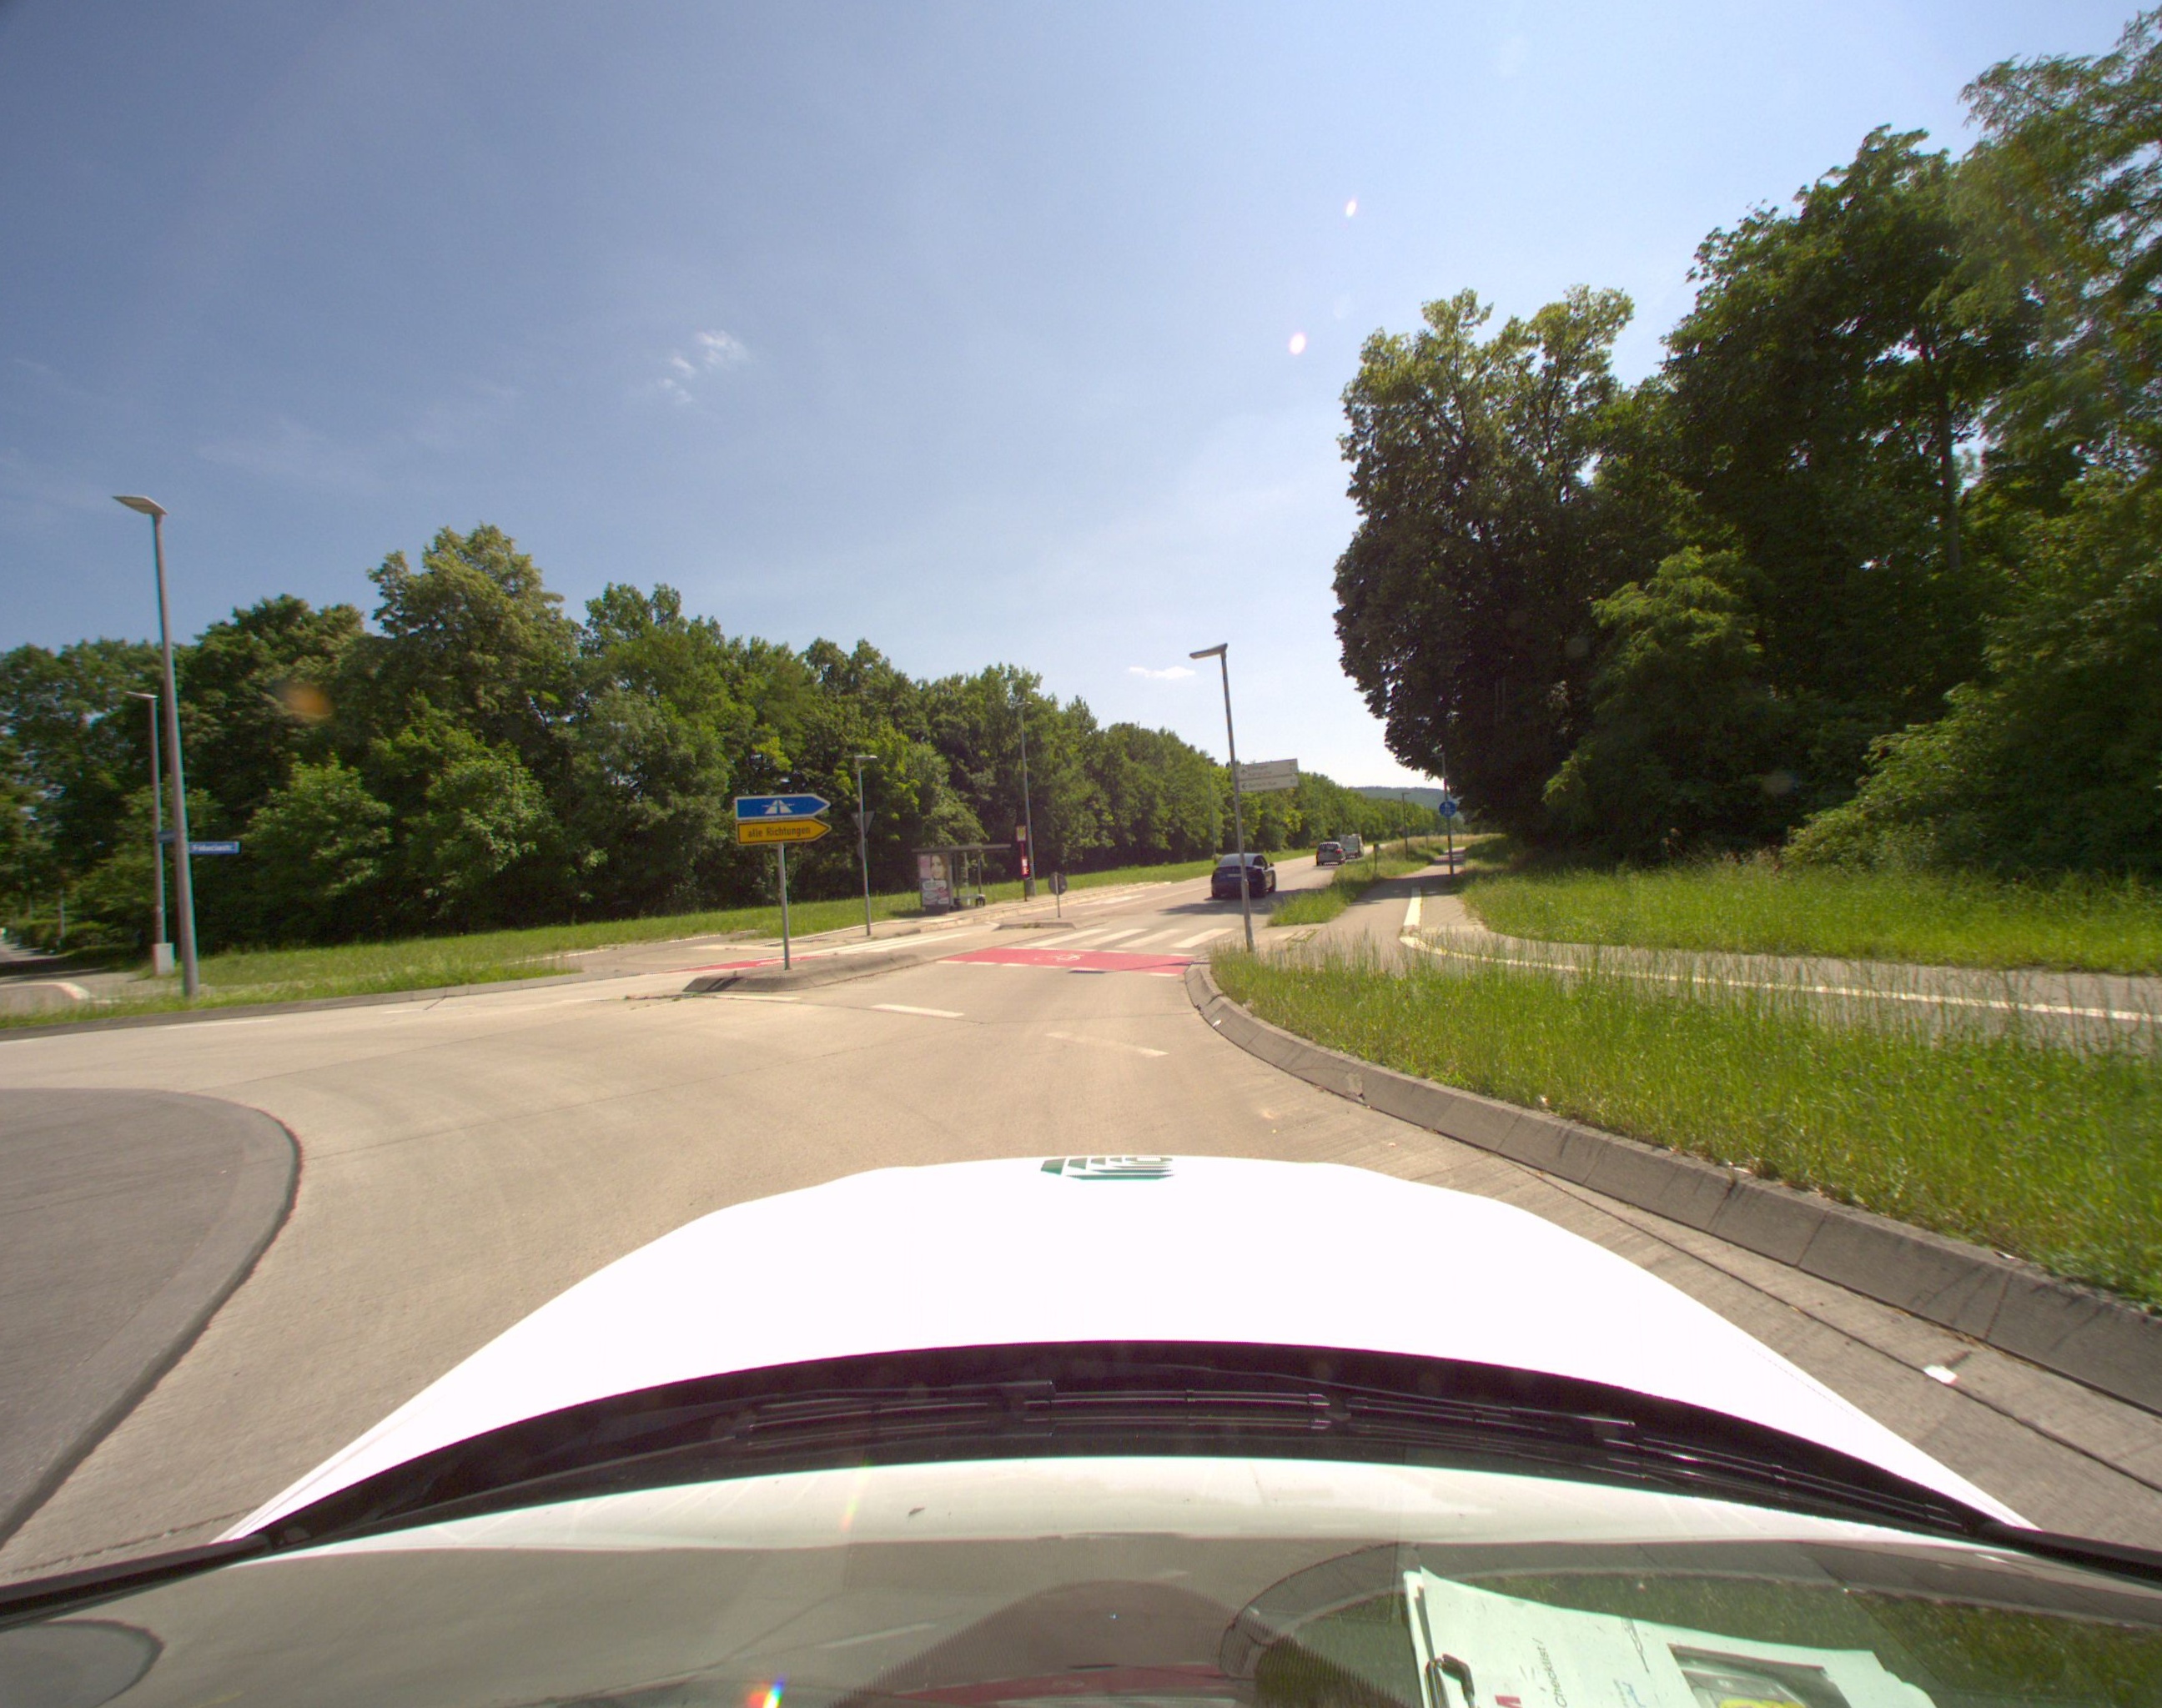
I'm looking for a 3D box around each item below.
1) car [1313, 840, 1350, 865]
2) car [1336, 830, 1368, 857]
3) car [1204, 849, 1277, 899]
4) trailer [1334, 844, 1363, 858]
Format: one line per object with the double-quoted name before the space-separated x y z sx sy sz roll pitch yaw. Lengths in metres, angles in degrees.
"car" 17.633 -0.157 57.316 1.768 1.607 4.152 -3 0 26
"car" 24.856 -0.960 74.660 2.146 2.316 5.010 -3 0 25
"car" 6.185 0.702 31.146 1.977 1.639 4.781 -4 0 19
"trailer" 23.268 -0.267 70.843 2.103 1.097 3.373 -3 0 22
